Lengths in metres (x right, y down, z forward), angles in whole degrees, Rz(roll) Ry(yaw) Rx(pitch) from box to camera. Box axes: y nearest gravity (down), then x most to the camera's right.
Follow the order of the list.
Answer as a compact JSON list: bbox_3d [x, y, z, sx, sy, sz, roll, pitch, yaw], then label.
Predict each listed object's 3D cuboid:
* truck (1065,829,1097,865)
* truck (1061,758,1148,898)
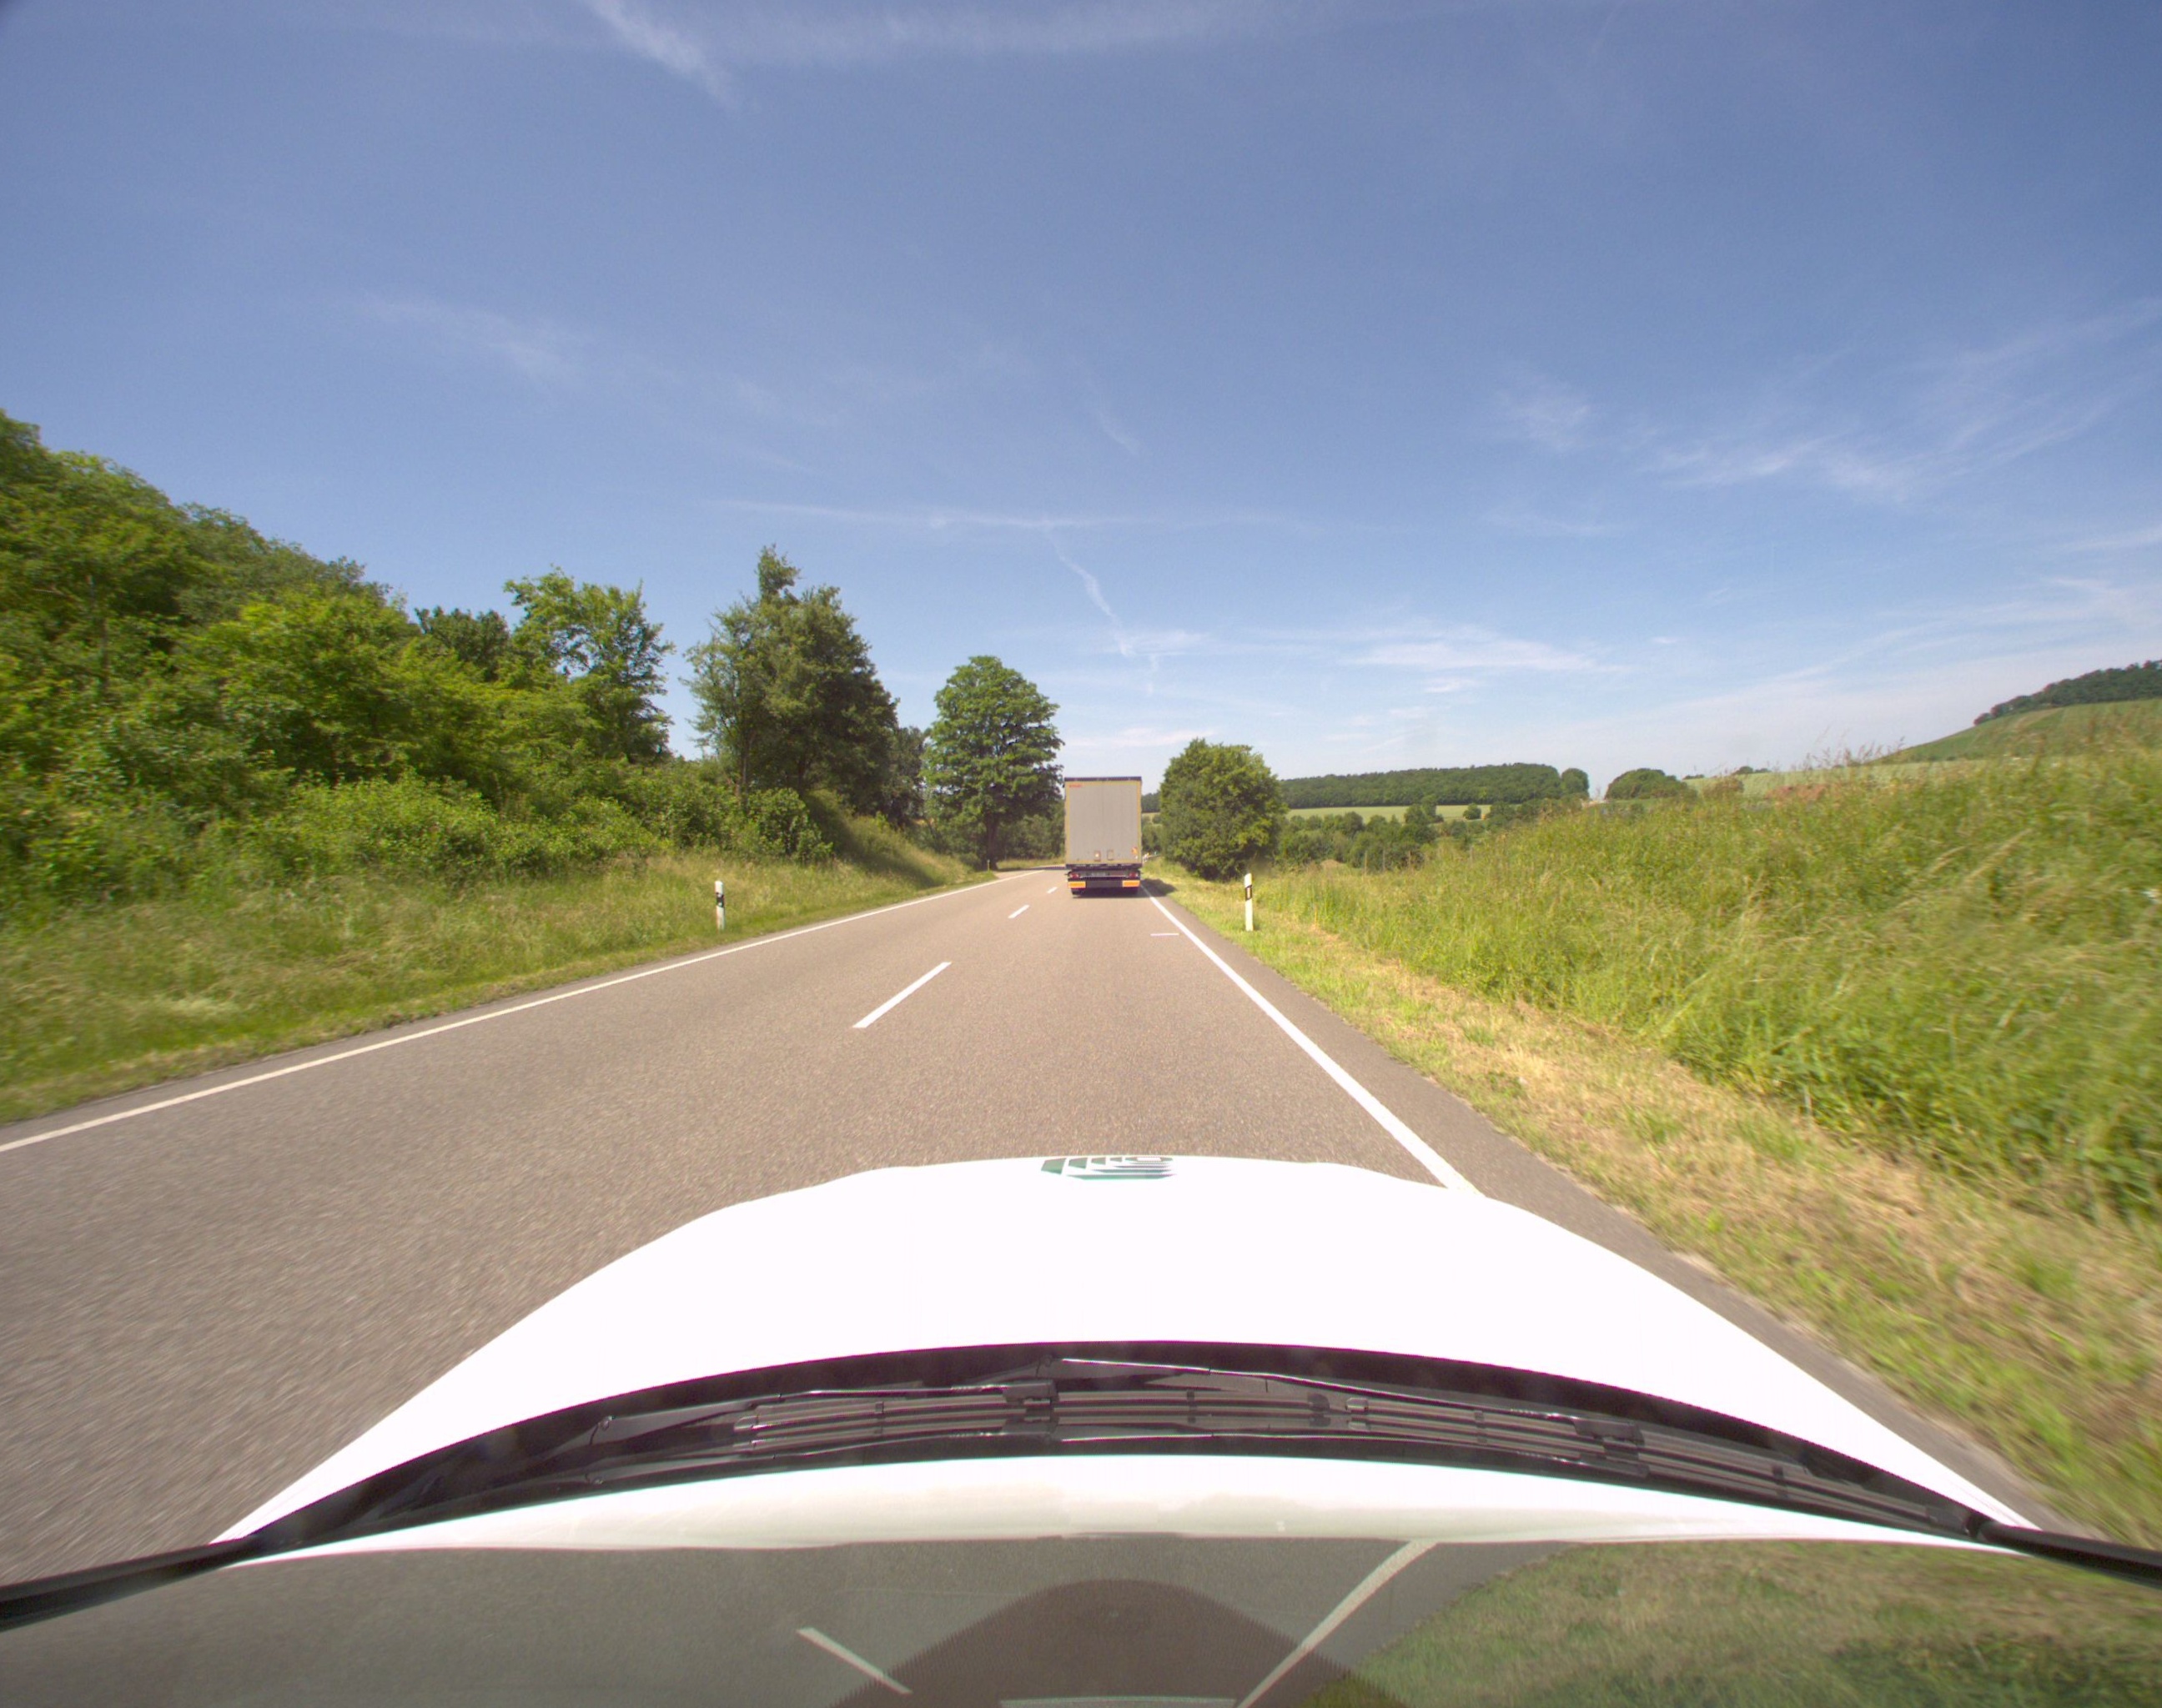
[{"bbox_3d":[0.067,-0.735,85.066,2.518,3.559,7.775,-1,0,6],"label":"truck"},{"bbox_3d":[0.937,-0.893,32.454,2.807,4.532,11.772,-1,0,2],"label":"truck"}]
